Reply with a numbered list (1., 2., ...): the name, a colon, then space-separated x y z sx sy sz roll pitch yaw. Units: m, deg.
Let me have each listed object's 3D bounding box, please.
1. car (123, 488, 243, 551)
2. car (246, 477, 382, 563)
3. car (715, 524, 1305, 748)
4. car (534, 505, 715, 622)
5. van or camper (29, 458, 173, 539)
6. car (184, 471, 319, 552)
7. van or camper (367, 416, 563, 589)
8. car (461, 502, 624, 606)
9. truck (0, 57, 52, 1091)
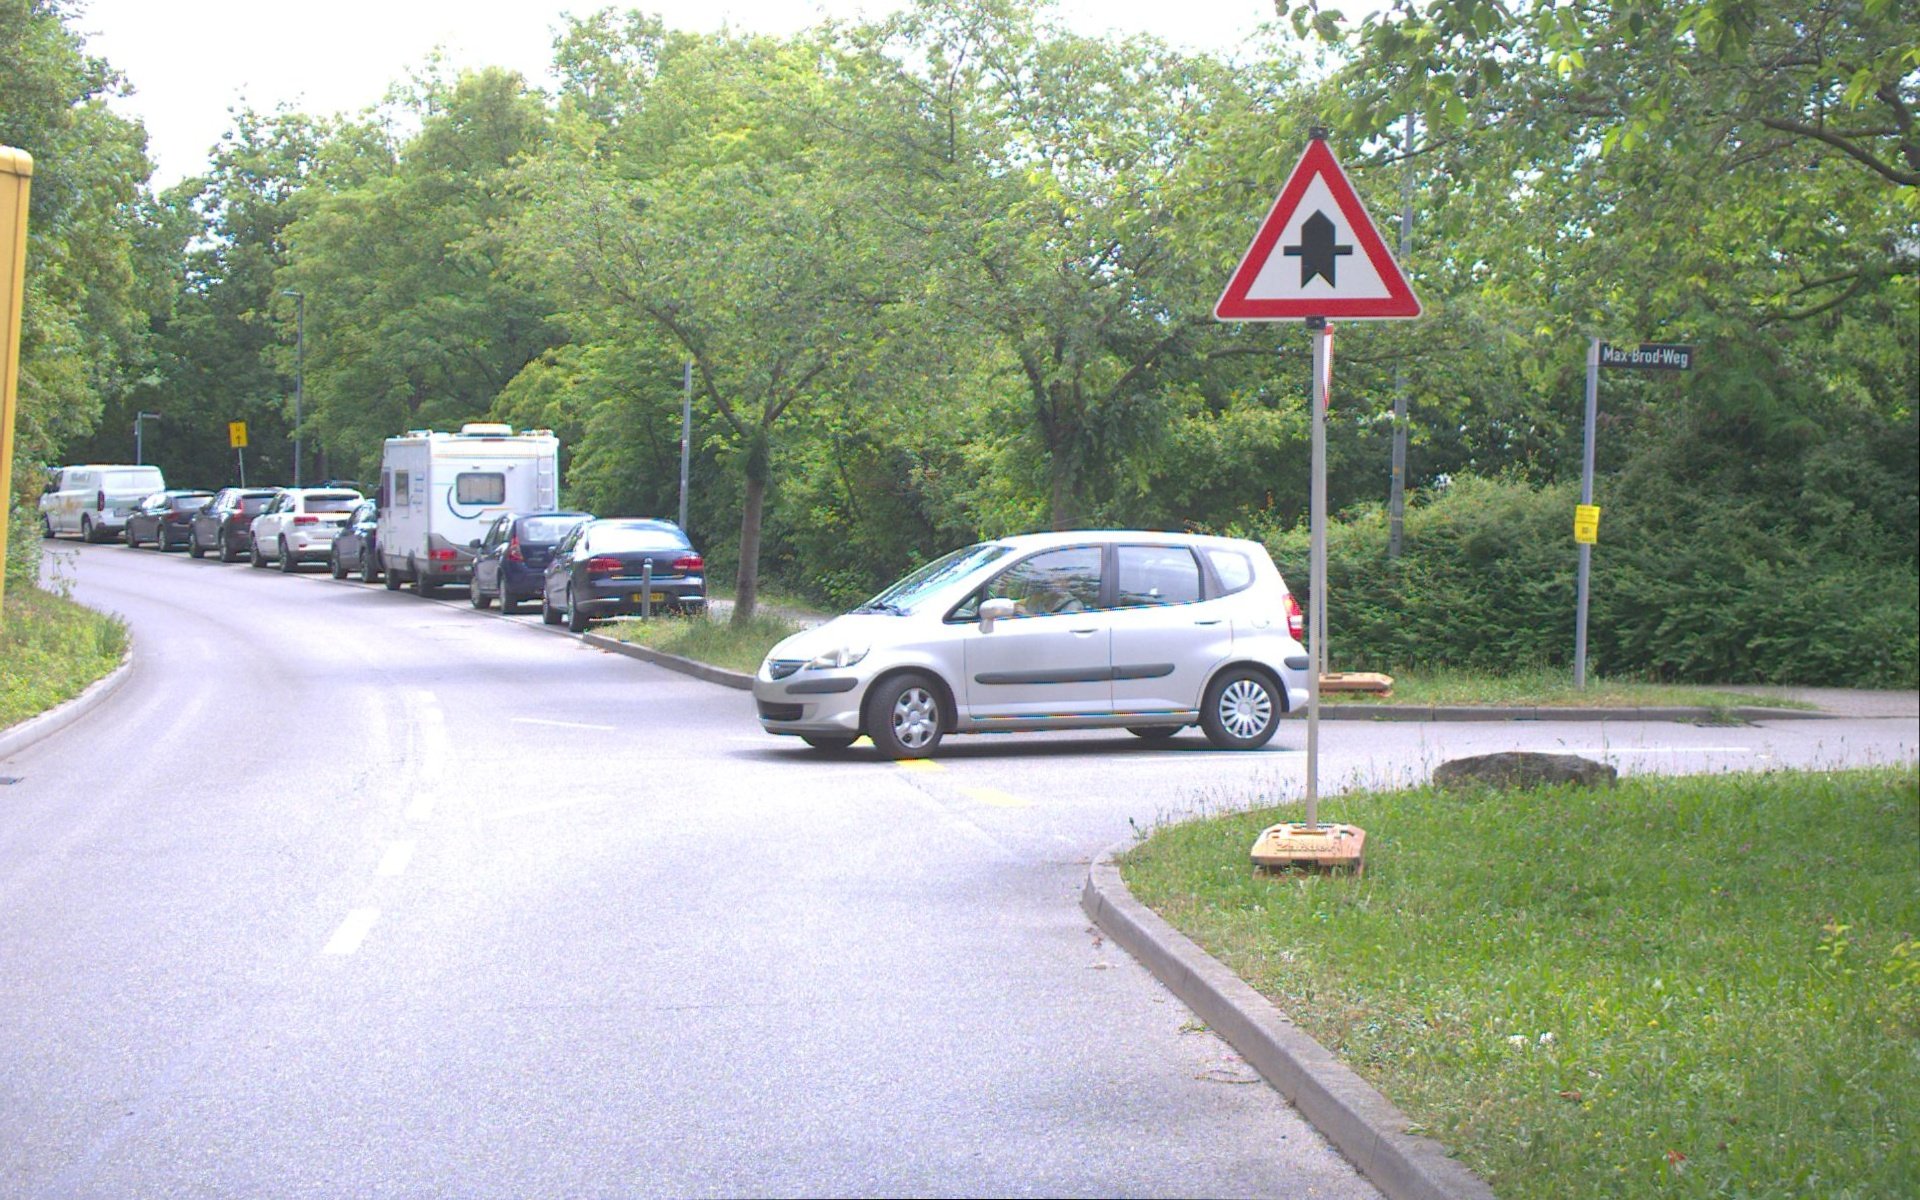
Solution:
1. car: -19.051 -1.986 84.173 1.797 1.459 4.001 -1 3 -29
2. car: -13.692 -1.714 72.660 1.871 1.683 4.581 0 3 -23
3. car: 0.318 0.226 23.692 3.639 1.451 1.848 0 1 -19
4. car: -4.553 -0.532 46.143 1.775 1.429 4.335 -1 2 -14
5. van or camper: -22.340 -2.672 89.261 1.994 1.913 5.266 -3 5 -33
6. car: -16.105 -2.033 78.013 1.993 1.620 4.279 -3 5 -25
7. van or camper: -8.774 -1.732 60.384 2.332 2.859 6.152 0 2 -18
8. car: -6.479 -0.724 53.038 1.728 1.514 3.890 -1 1 -18
9. truck: -5.956 -0.221 9.861 6.560 2.799 2.230 4 3 26
